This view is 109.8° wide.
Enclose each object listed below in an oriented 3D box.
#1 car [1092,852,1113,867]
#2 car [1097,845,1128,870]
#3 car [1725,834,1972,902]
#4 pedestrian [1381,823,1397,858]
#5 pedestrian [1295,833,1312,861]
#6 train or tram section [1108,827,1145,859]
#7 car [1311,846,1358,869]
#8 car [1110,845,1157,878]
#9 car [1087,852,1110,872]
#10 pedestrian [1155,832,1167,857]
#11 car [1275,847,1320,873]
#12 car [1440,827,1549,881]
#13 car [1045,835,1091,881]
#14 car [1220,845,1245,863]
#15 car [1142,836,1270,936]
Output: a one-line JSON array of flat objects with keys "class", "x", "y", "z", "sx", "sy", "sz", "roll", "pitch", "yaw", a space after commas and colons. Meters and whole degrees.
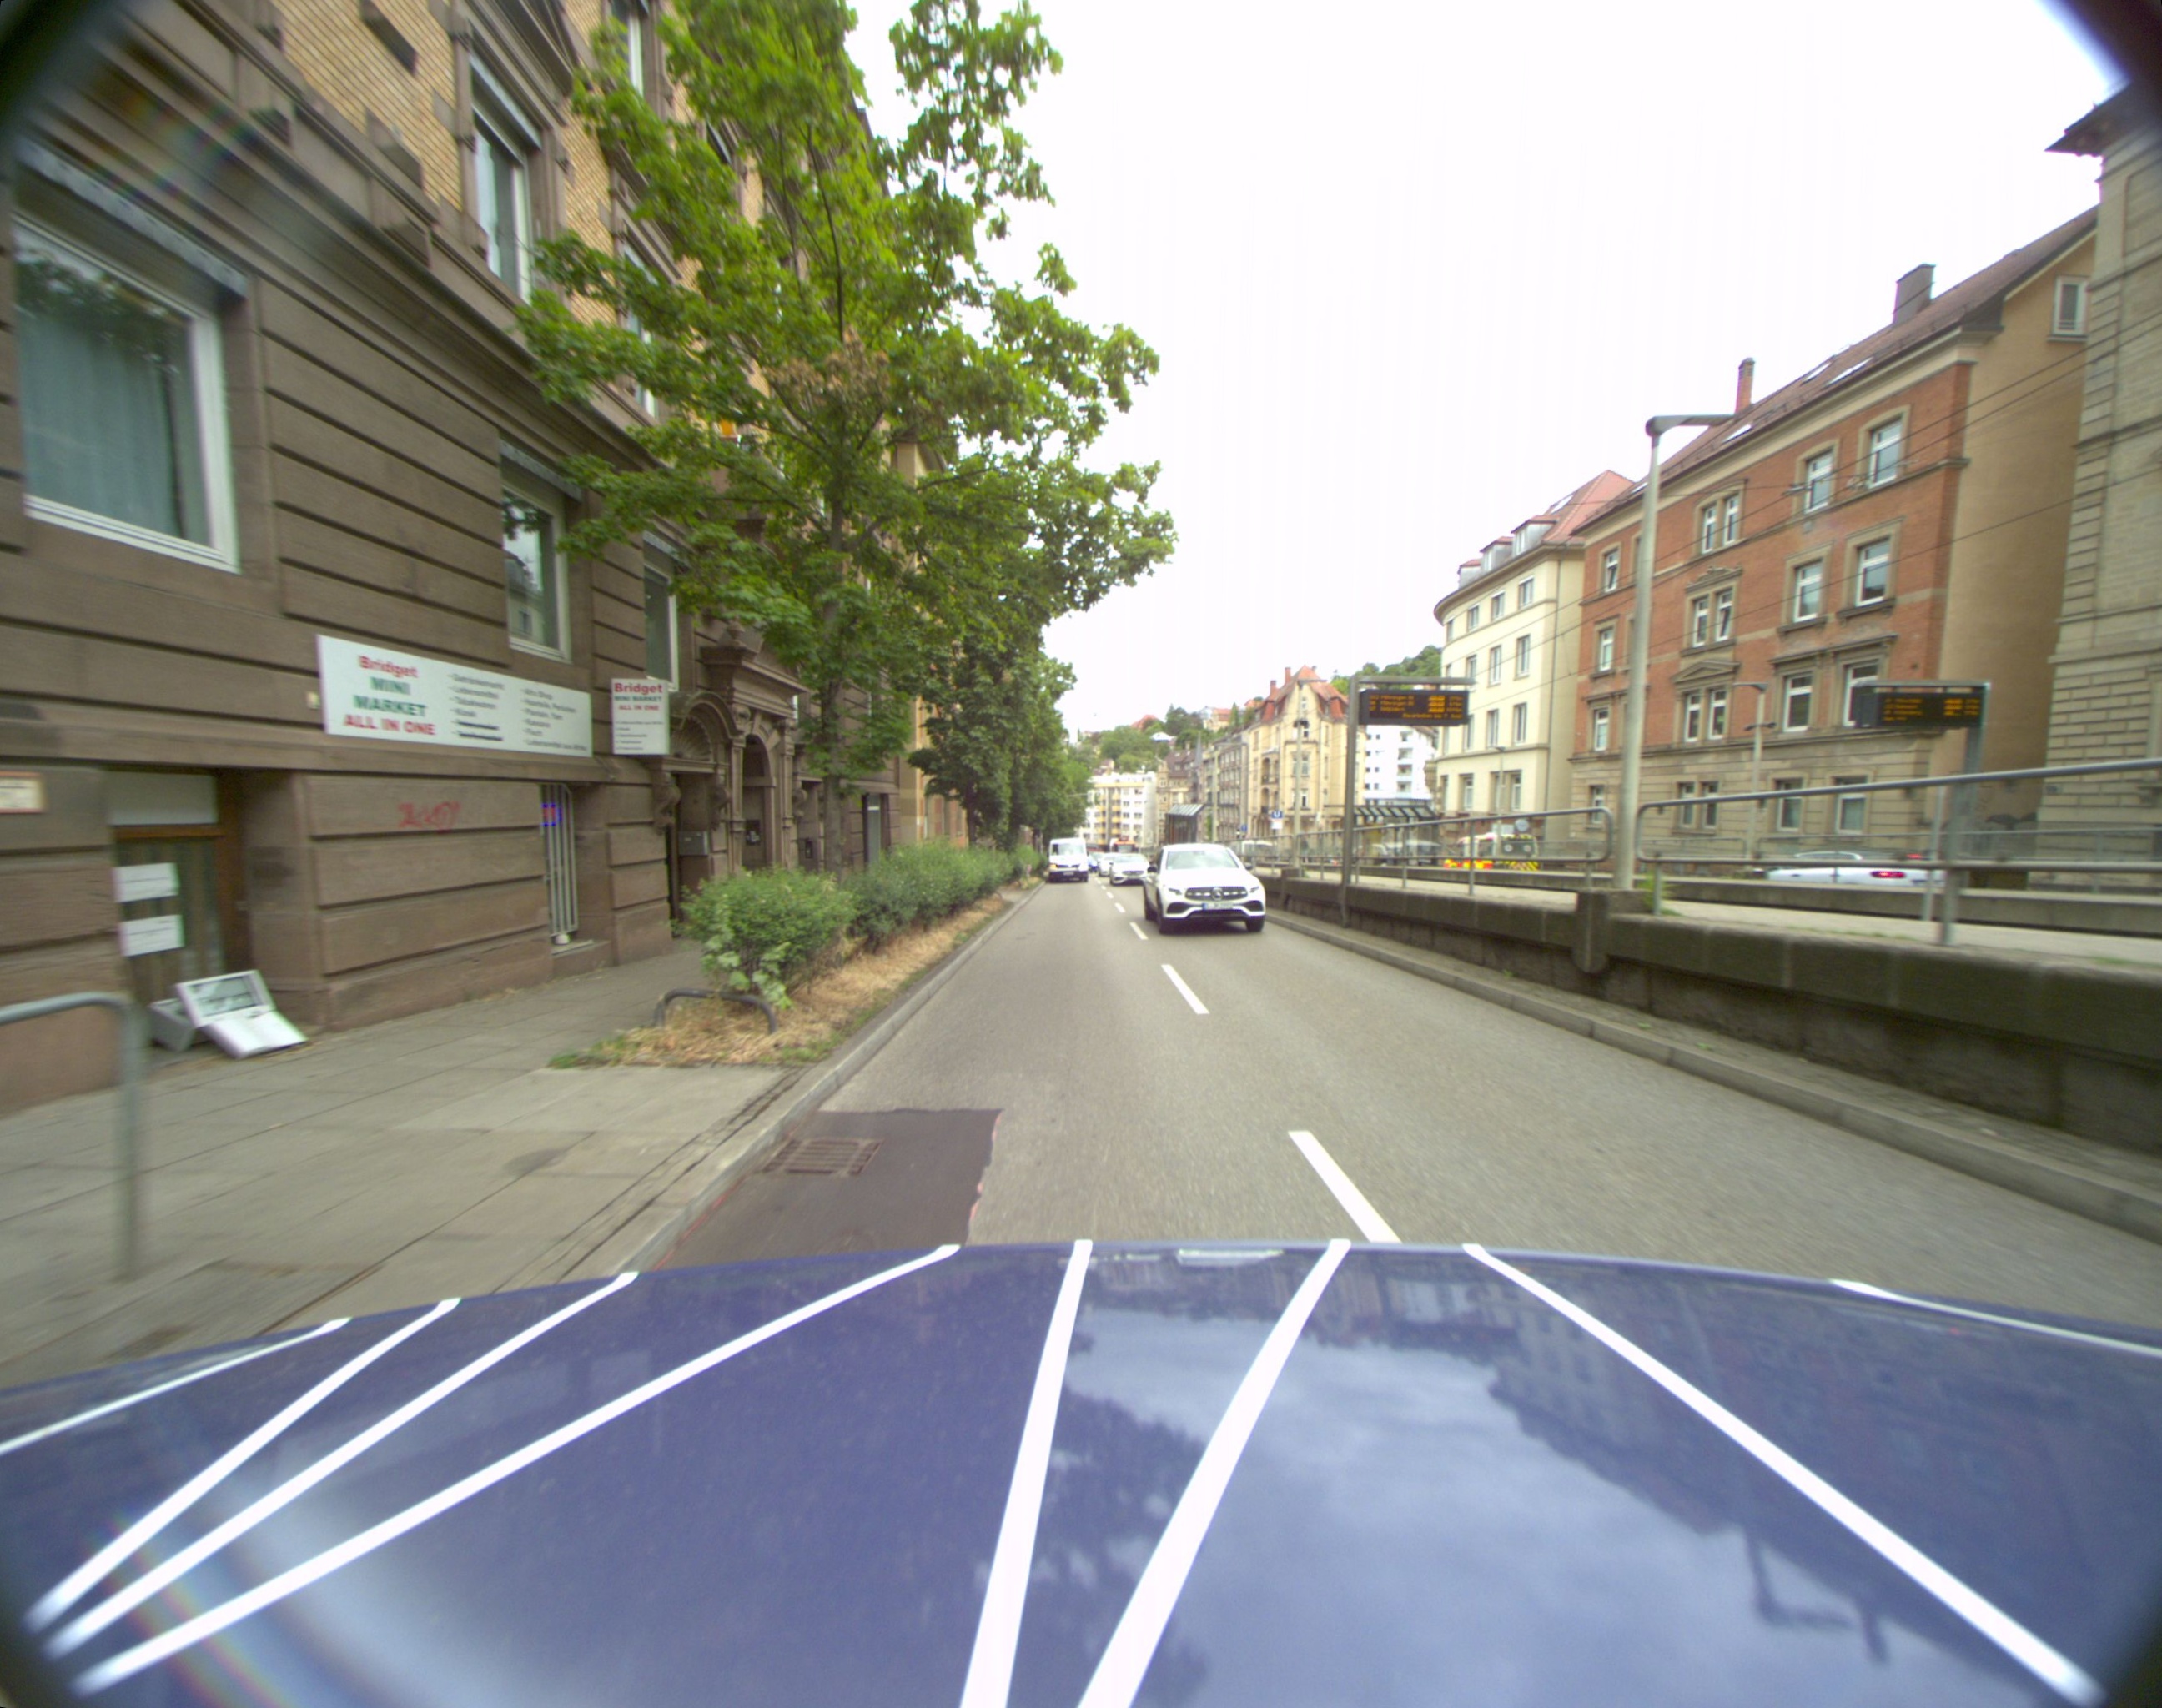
[{"class": "car", "x": 1.990, "y": 0.516, "z": 70.132, "sx": 1.563, "sy": 1.330, "sz": 3.998, "roll": 0, "pitch": 0, "yaw": -4}, {"class": "car", "x": 1.975, "y": 0.223, "z": 48.682, "sx": 1.806, "sy": 1.542, "sz": 3.999, "roll": -1, "pitch": 0, "yaw": 0}, {"class": "car", "x": 18.765, "y": 0.285, "z": 18.911, "sx": 1.772, "sy": 1.462, "sz": 4.260, "roll": -1, "pitch": 1, "yaw": -1}, {"class": "pedestrian", "x": 13.714, "y": -0.588, "z": 33.857, "sx": 0.463, "sy": 1.553, "sz": 0.540, "roll": 0, "pitch": 1, "yaw": -1}, {"class": "pedestrian", "x": 13.478, "y": -0.436, "z": 45.985, "sx": 0.767, "sy": 1.679, "sz": 0.843, "roll": 0, "pitch": 1, "yaw": 0}, {"class": "train or tram section", "x": 5.155, "y": -1.216, "z": 89.351, "sx": 2.968, "sy": 3.456, "sz": 14.405, "roll": 1, "pitch": 0, "yaw": -2}, {"class": "car", "x": 18.422, "y": 0.219, "z": 55.499, "sx": 1.867, "sy": 1.636, "sz": 4.414, "roll": 0, "pitch": 1, "yaw": -1}, {"class": "car", "x": 2.340, "y": 0.318, "z": 34.613, "sx": 1.806, "sy": 1.392, "sz": 3.999, "roll": -1, "pitch": 0, "yaw": -1}, {"class": "car", "x": 1.330, "y": 0.576, "z": 59.061, "sx": 1.695, "sy": 1.466, "sz": 3.856, "roll": 0, "pitch": 1, "yaw": 0}, {"class": "pedestrian", "x": 5.426, "y": -0.625, "z": 51.592, "sx": 0.767, "sy": 1.705, "sz": 0.766, "roll": 0, "pitch": 1, "yaw": 0}, {"class": "car", "x": 16.044, "y": 0.387, "z": 56.568, "sx": 1.999, "sy": 1.884, "sz": 4.414, "roll": 0, "pitch": 1, "yaw": -1}, {"class": "car", "x": 18.833, "y": -0.035, "z": 34.971, "sx": 1.999, "sy": 2.291, "sz": 5.454, "roll": 0, "pitch": 1, "yaw": 0}, {"class": "car", "x": -0.686, "y": 0.215, "z": 41.244, "sx": 2.263, "sy": 2.274, "sz": 5.967, "roll": -1, "pitch": 0, "yaw": 0}, {"class": "car", "x": 15.235, "y": 0.029, "z": 76.502, "sx": 1.827, "sy": 1.754, "sz": 3.864, "roll": 0, "pitch": 1, "yaw": 1}, {"class": "car", "x": 2.325, "y": 0.499, "z": 15.286, "sx": 1.840, "sy": 1.657, "sz": 4.670, "roll": -1, "pitch": 1, "yaw": 1}]
